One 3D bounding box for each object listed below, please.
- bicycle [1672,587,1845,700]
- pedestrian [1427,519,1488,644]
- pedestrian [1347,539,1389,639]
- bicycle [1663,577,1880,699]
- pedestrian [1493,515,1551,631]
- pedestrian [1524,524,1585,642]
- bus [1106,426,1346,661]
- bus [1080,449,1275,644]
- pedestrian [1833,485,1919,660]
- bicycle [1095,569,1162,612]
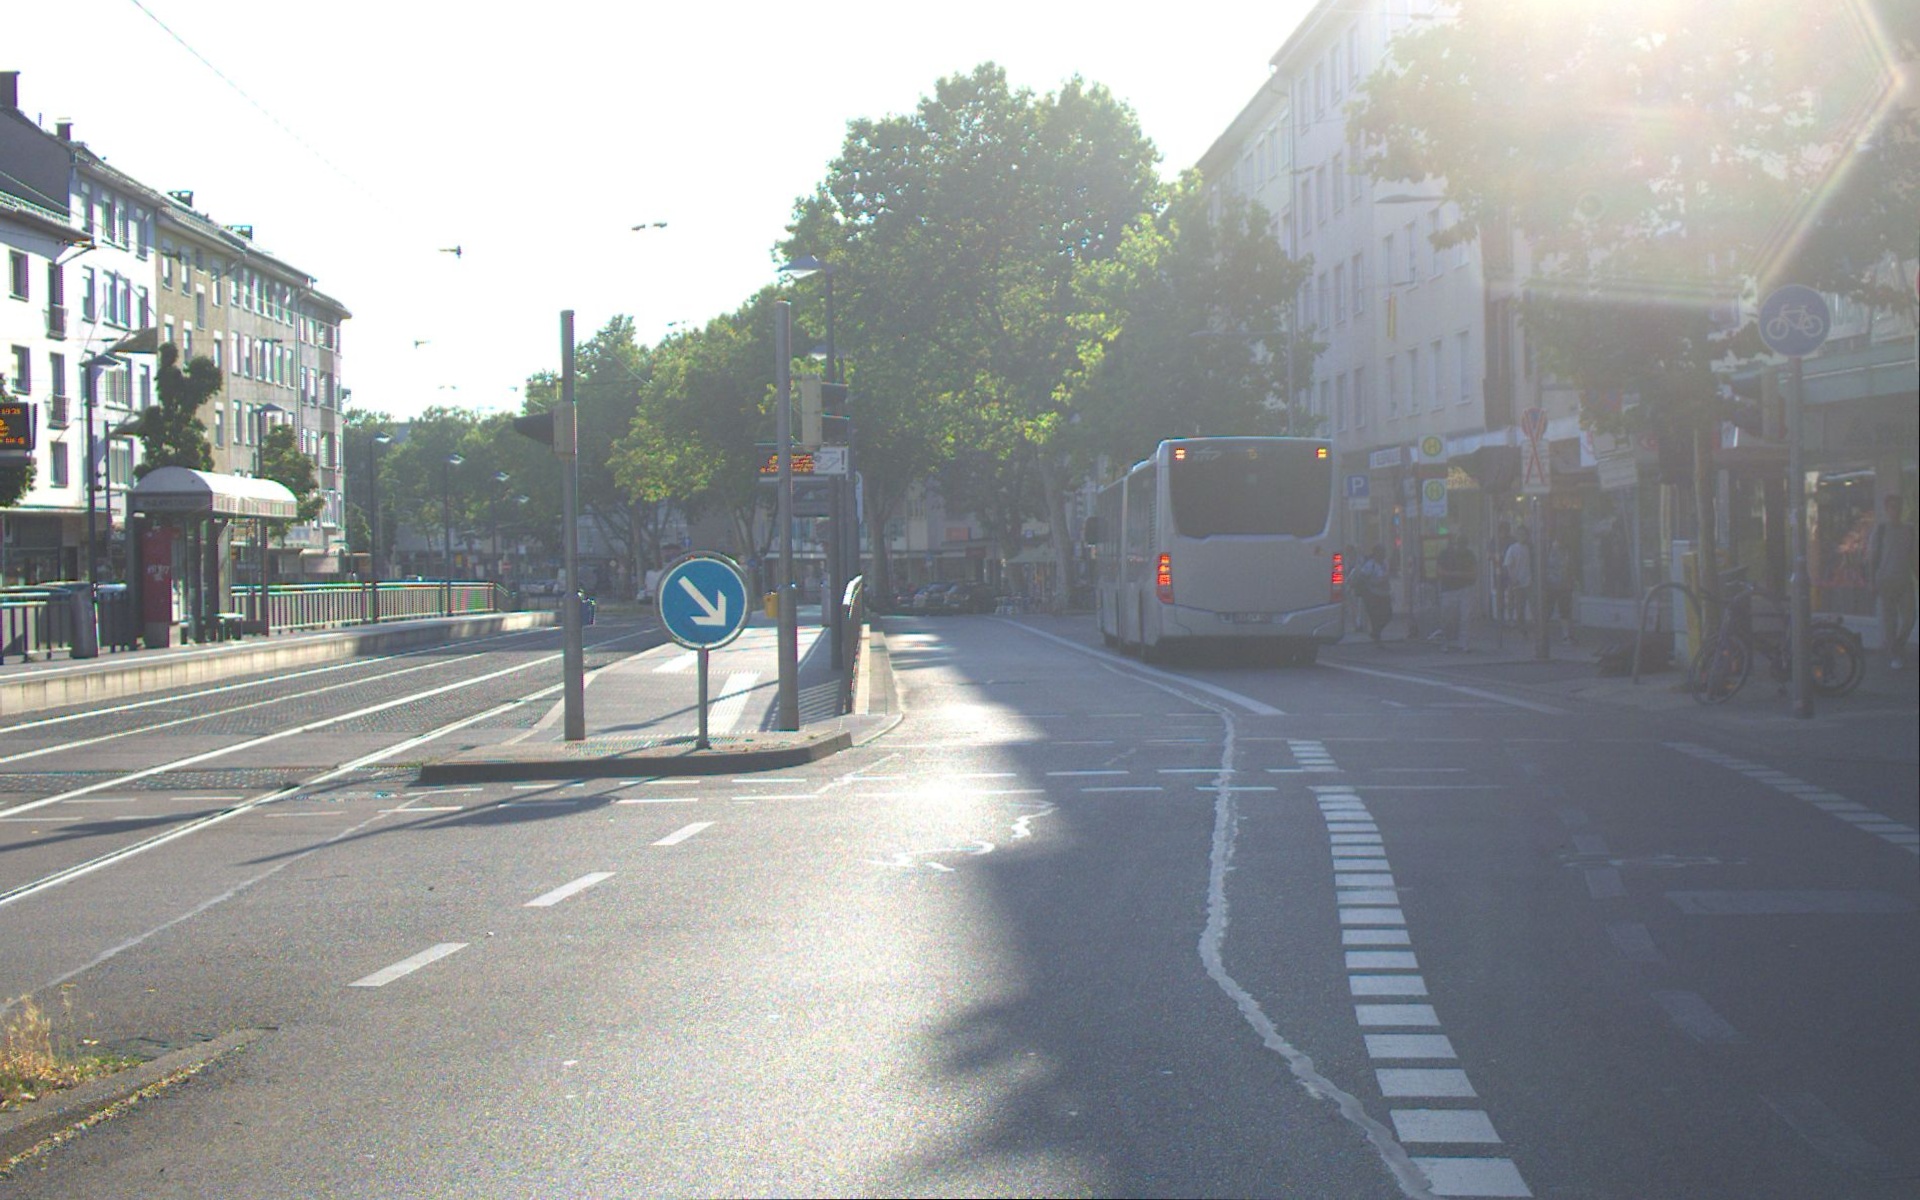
[{"bbox_3d":[7.398,0.396,31.859,1.482,1.005,0.454,-1,1,-4],"label":"bicycle"},{"bbox_3d":[7.250,-0.268,50.095,0.723,1.800,0.766,-1,0,-1],"label":"pedestrian"},{"bbox_3d":[6.542,-0.182,55.082,0.610,1.573,0.851,-1,1,5],"label":"pedestrian"},{"bbox_3d":[7.361,0.338,31.211,1.798,1.005,0.541,-3,1,-4],"label":"bicycle"},{"bbox_3d":[8.718,-0.411,53.345,0.723,1.773,0.766,-1,0,-1],"label":"pedestrian"},{"bbox_3d":[8.780,-0.252,50.783,0.723,1.717,0.766,-1,0,-1],"label":"pedestrian"},{"bbox_3d":[3.719,-0.799,50.156,2.696,3.107,9.382,0,1,-1],"label":"bus"},{"bbox_3d":[3.631,-0.906,59.407,2.696,3.107,9.070,0,1,-1],"label":"bus"},{"bbox_3d":[9.565,-0.289,35.637,0.743,1.774,0.895,-2,0,-1],"label":"pedestrian"},{"bbox_3d":[4.941,-0.275,100.957,1.887,1.073,0.754,-5,1,2],"label":"bicycle"}]
